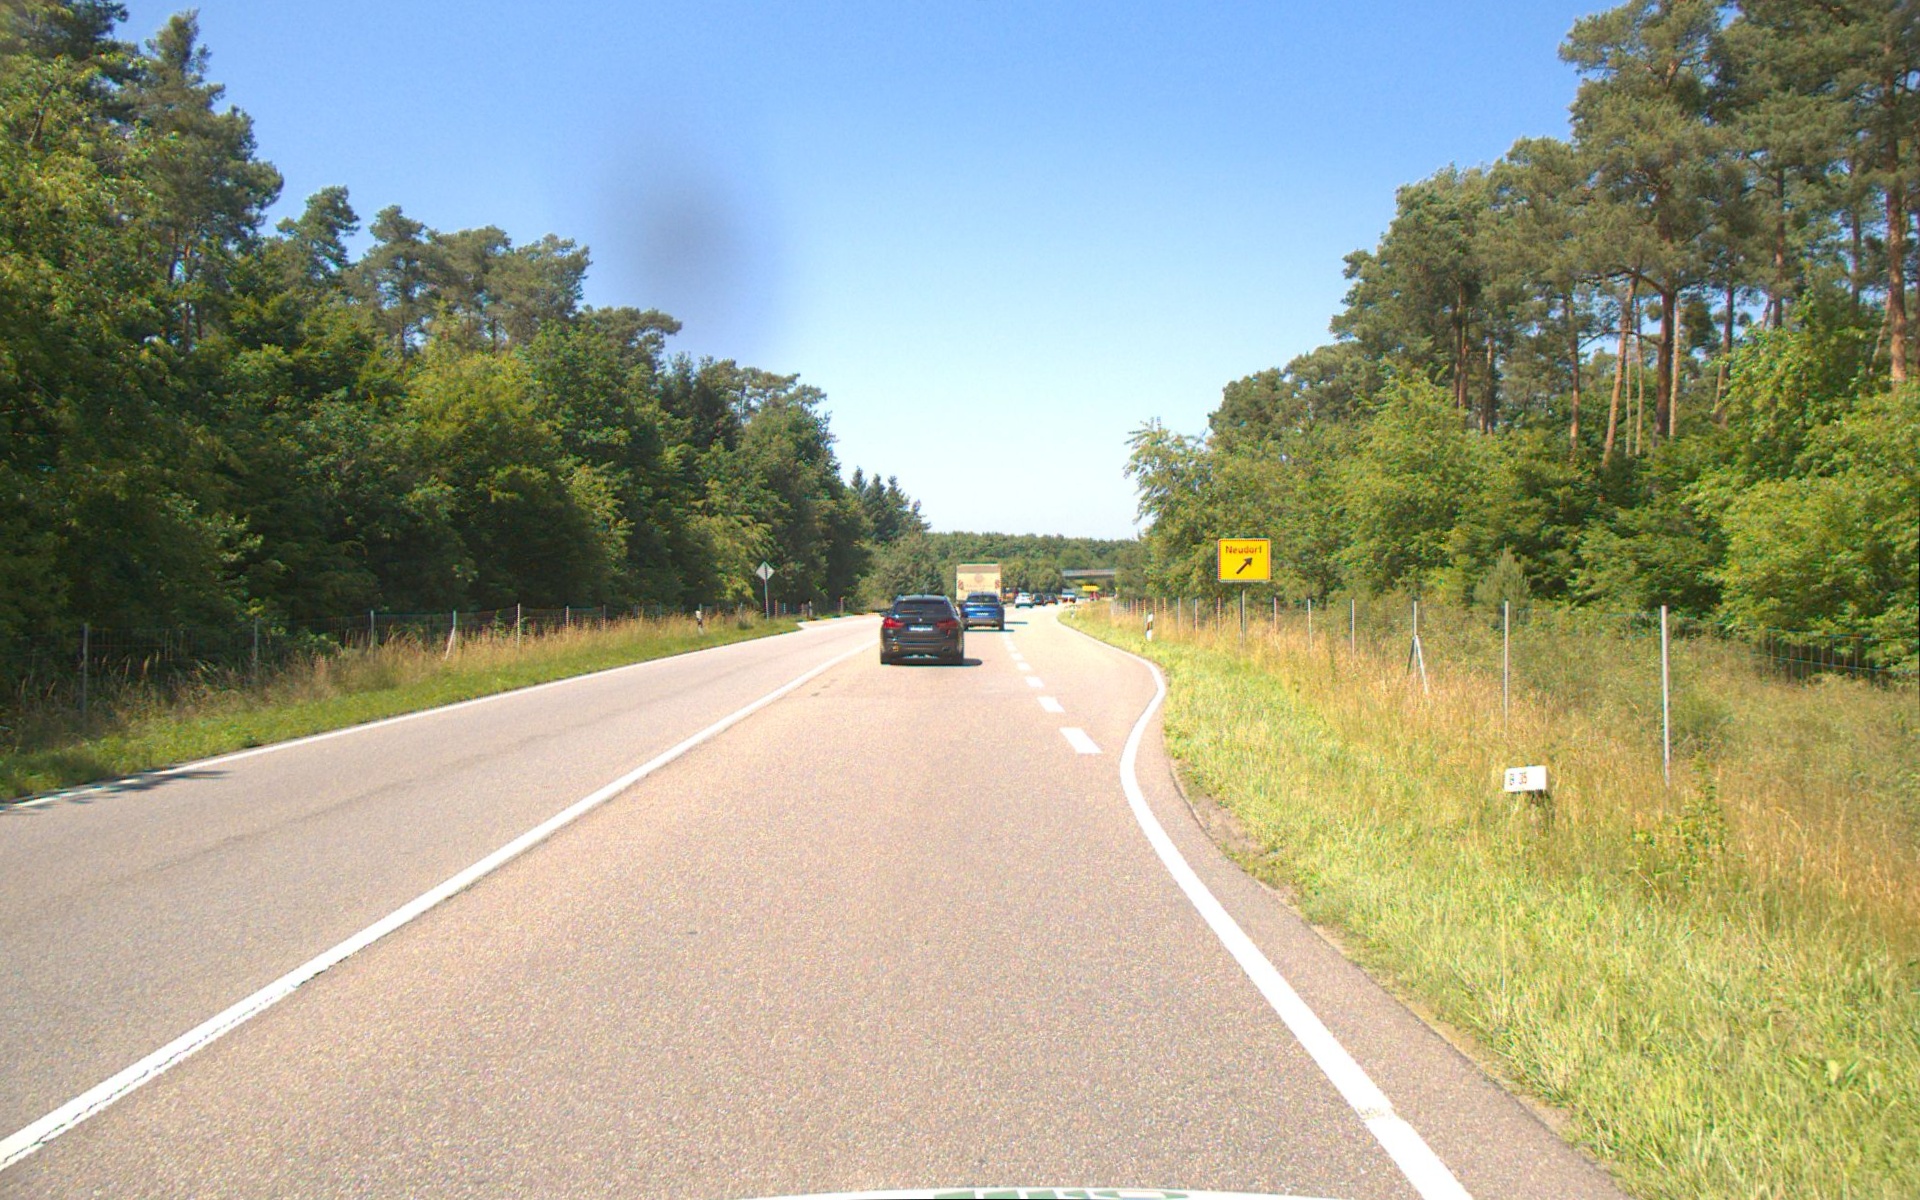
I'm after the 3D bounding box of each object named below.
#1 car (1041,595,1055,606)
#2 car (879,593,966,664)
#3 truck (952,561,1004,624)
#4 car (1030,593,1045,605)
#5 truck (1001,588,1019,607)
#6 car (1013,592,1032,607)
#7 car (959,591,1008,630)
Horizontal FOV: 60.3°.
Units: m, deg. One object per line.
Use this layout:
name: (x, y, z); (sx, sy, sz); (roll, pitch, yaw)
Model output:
car: (12.977, 0.076, 243.914); (1.951, 1.665, 4.002); (-1, 0, 4)
car: (-0.893, 0.589, 37.033); (1.784, 1.496, 3.997); (0, 0, -4)
truck: (1.046, -0.440, 94.841); (2.904, 3.447, 6.439); (0, 0, 1)
car: (10.299, -0.122, 218.734); (1.952, 1.445, 4.002); (1, 0, 3)
truck: (7.589, -0.414, 251.093); (2.348, 2.770, 6.555); (0, 0, 4)
car: (7.167, -0.034, 189.505); (1.825, 1.633, 3.999); (2, 0, -2)
car: (0.959, 0.435, 70.312); (1.908, 1.568, 3.999); (-1, 0, -2)
